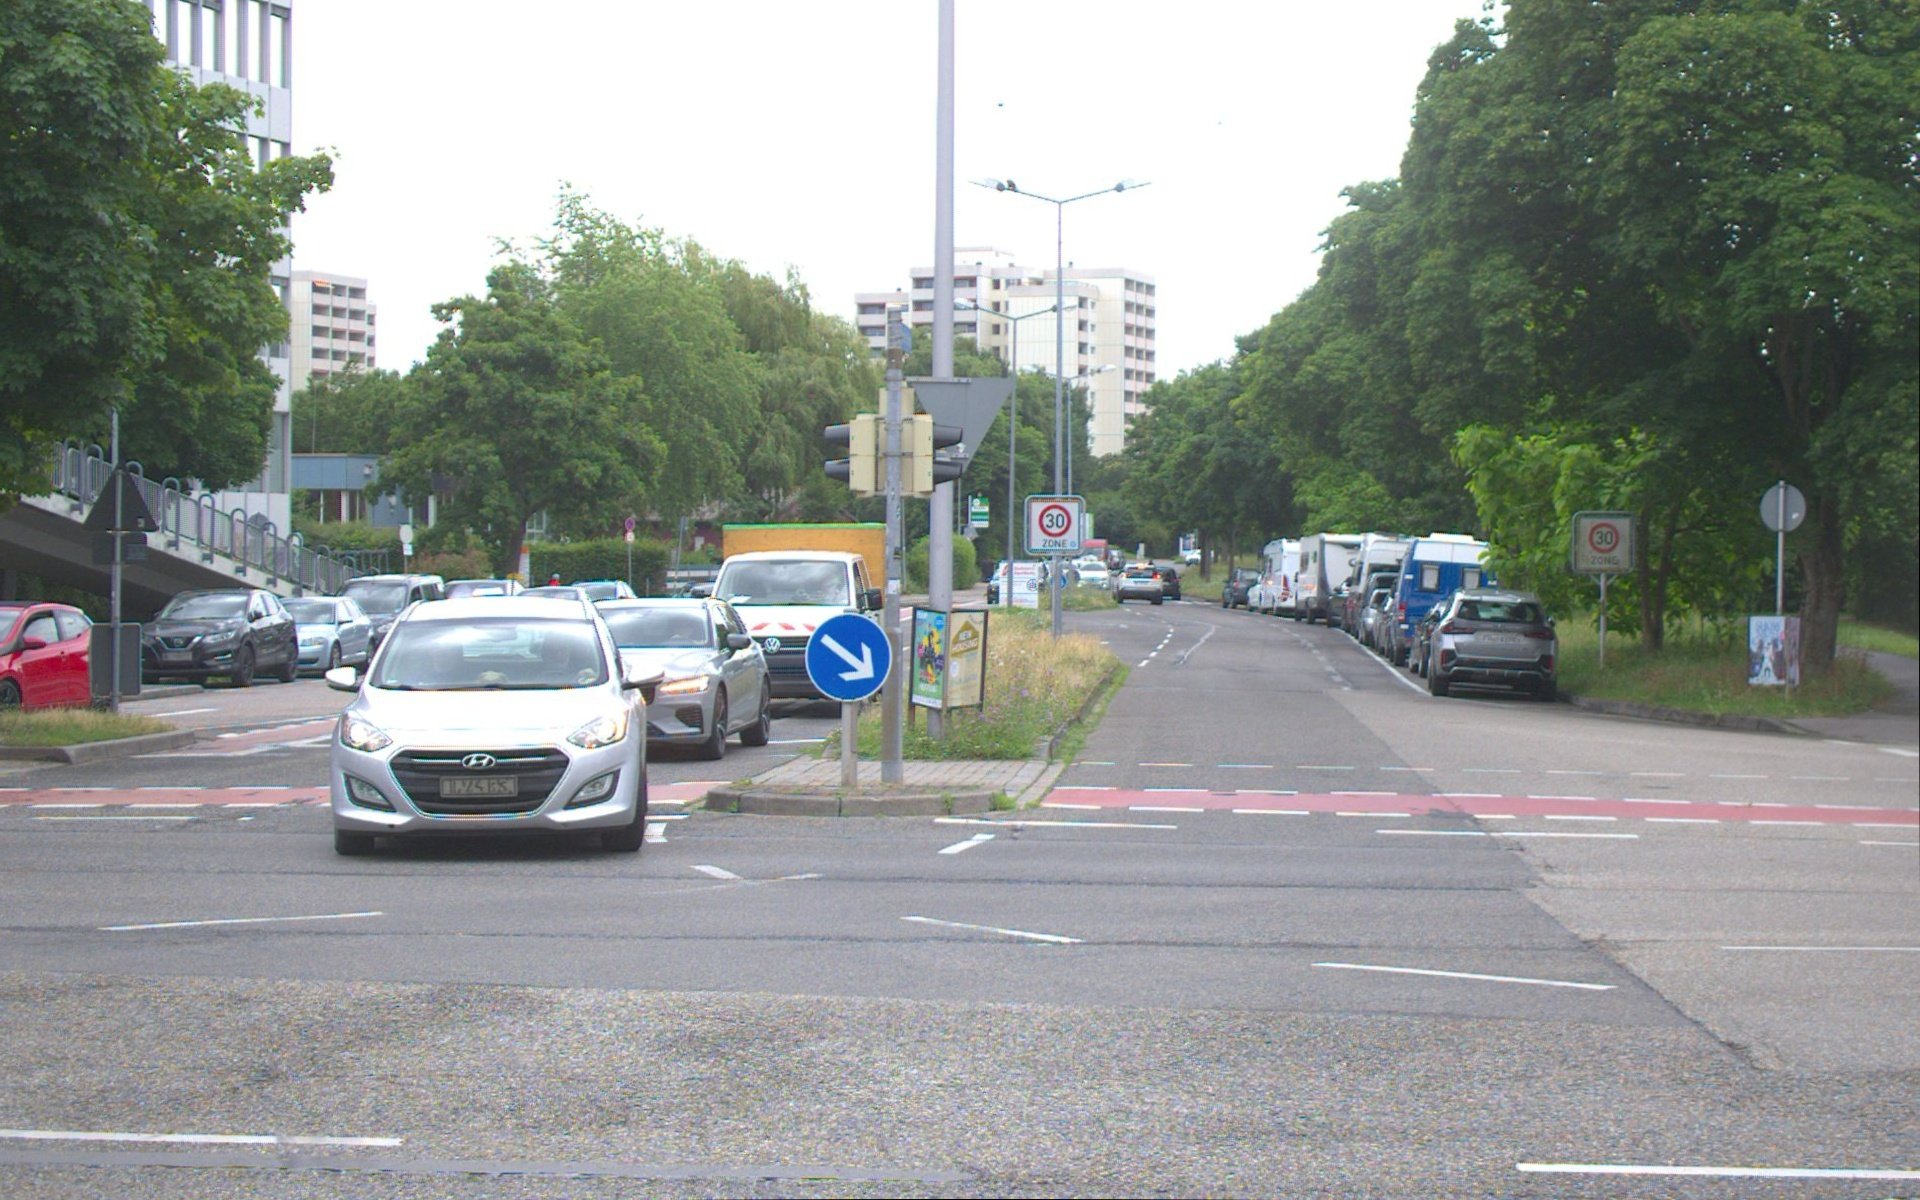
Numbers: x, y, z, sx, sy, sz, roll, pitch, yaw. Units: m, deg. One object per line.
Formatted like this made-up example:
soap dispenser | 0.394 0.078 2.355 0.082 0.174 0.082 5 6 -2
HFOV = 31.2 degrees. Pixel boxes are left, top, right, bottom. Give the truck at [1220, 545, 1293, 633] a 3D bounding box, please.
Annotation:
truck | 10.378 -0.366 120.664 1.993 2.999 5.772 0 0 -1

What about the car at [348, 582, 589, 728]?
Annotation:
car | -5.236 0.557 37.145 1.770 1.472 4.389 0 0 3

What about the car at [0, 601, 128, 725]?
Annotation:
car | -11.173 0.713 39.869 1.513 1.385 3.530 0 0 13

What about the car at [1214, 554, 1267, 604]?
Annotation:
car | 11.135 -0.847 136.635 1.651 1.912 3.919 0 1 -1

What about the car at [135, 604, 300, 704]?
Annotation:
car | -12.144 0.855 56.435 1.672 1.547 3.891 1 0 3

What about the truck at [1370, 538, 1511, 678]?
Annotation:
truck | 9.497 0.178 68.429 2.175 2.647 6.245 0 0 2

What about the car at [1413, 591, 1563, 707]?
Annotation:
car | 7.894 0.701 51.690 1.784 1.656 4.000 1 0 2

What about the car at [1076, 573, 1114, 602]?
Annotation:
car | 7.265 -0.672 185.214 2.020 1.500 4.000 1 0 2

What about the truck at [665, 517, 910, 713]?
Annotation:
truck | -1.989 0.154 41.688 2.156 2.191 5.839 1 0 5

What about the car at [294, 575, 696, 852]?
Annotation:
car | -2.741 0.614 21.201 1.789 1.514 4.325 0 0 1

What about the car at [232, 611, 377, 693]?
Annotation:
car | -11.761 0.917 61.917 1.672 1.382 3.895 1 0 3

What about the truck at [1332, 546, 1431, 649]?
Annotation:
truck | 11.932 -0.063 97.689 1.993 2.828 5.732 0 0 -1

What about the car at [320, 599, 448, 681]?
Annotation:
car | -11.225 0.760 67.225 1.672 1.547 3.761 1 0 3

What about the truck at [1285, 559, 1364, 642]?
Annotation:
truck | 11.609 0.034 109.793 1.993 2.564 5.378 0 0 0

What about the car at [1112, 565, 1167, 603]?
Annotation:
car | 7.304 -0.636 140.085 2.020 1.500 4.000 0 0 0

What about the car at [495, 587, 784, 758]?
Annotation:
car | -2.849 0.602 31.587 1.897 1.415 4.735 0 1 4
